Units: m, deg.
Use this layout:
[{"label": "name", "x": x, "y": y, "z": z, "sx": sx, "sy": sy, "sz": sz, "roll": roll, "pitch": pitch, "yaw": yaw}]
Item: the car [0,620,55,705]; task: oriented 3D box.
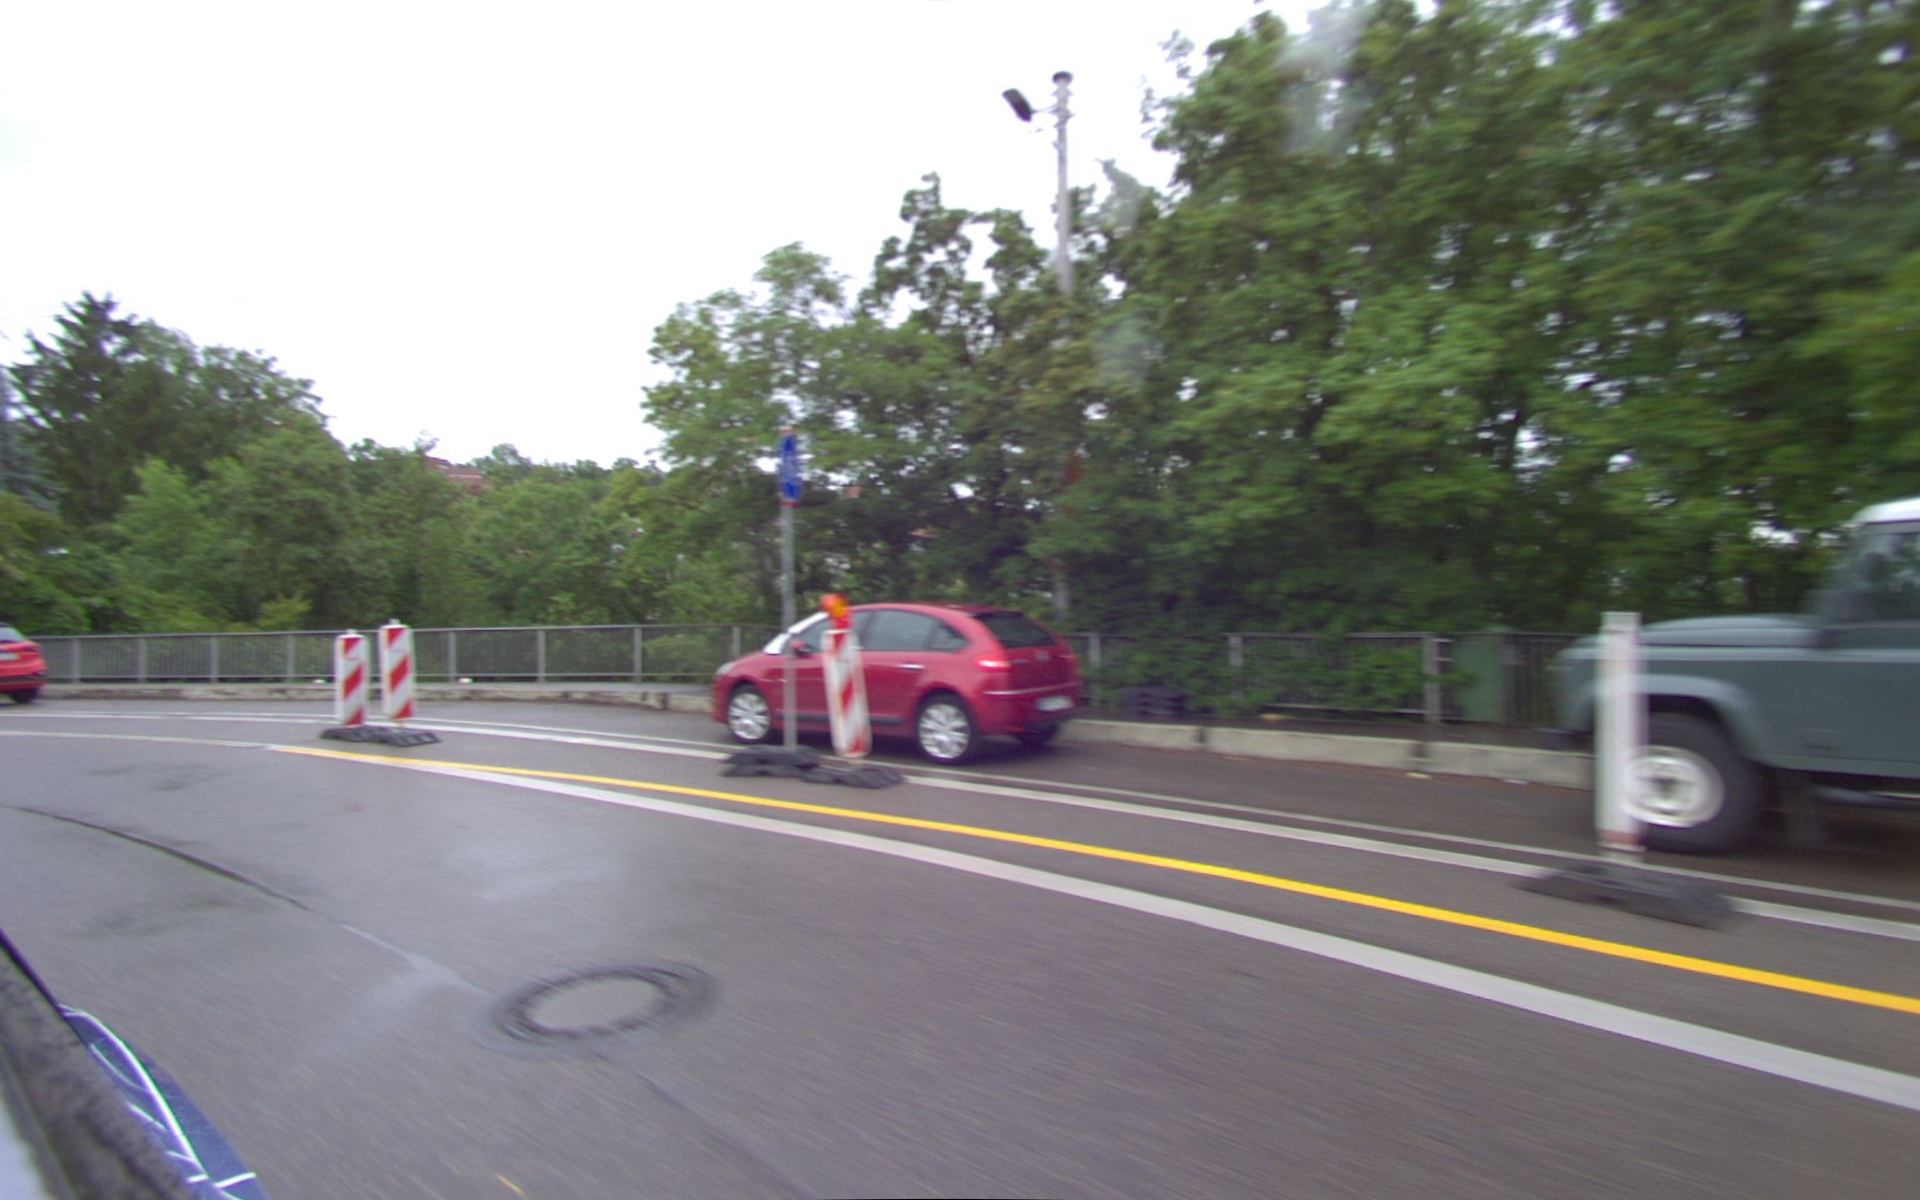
[{"label": "car", "x": -18.006, "y": 1.047, "z": 17.276, "sx": 4.093, "sy": 1.409, "sz": 1.684, "roll": 0, "pitch": -2, "yaw": 12}]

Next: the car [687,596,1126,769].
[{"label": "car", "x": -0.663, "y": 0.751, "z": 10.560, "sx": 4.313, "sy": 1.451, "sz": 1.943, "roll": -2, "pitch": -1, "yaw": 36}]

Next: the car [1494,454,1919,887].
[{"label": "car", "x": 5.554, "y": 0.302, "z": 4.964, "sx": 1.844, "sy": 2.029, "sz": 4.817, "roll": -1, "pitch": -1, "yaw": -44}]
